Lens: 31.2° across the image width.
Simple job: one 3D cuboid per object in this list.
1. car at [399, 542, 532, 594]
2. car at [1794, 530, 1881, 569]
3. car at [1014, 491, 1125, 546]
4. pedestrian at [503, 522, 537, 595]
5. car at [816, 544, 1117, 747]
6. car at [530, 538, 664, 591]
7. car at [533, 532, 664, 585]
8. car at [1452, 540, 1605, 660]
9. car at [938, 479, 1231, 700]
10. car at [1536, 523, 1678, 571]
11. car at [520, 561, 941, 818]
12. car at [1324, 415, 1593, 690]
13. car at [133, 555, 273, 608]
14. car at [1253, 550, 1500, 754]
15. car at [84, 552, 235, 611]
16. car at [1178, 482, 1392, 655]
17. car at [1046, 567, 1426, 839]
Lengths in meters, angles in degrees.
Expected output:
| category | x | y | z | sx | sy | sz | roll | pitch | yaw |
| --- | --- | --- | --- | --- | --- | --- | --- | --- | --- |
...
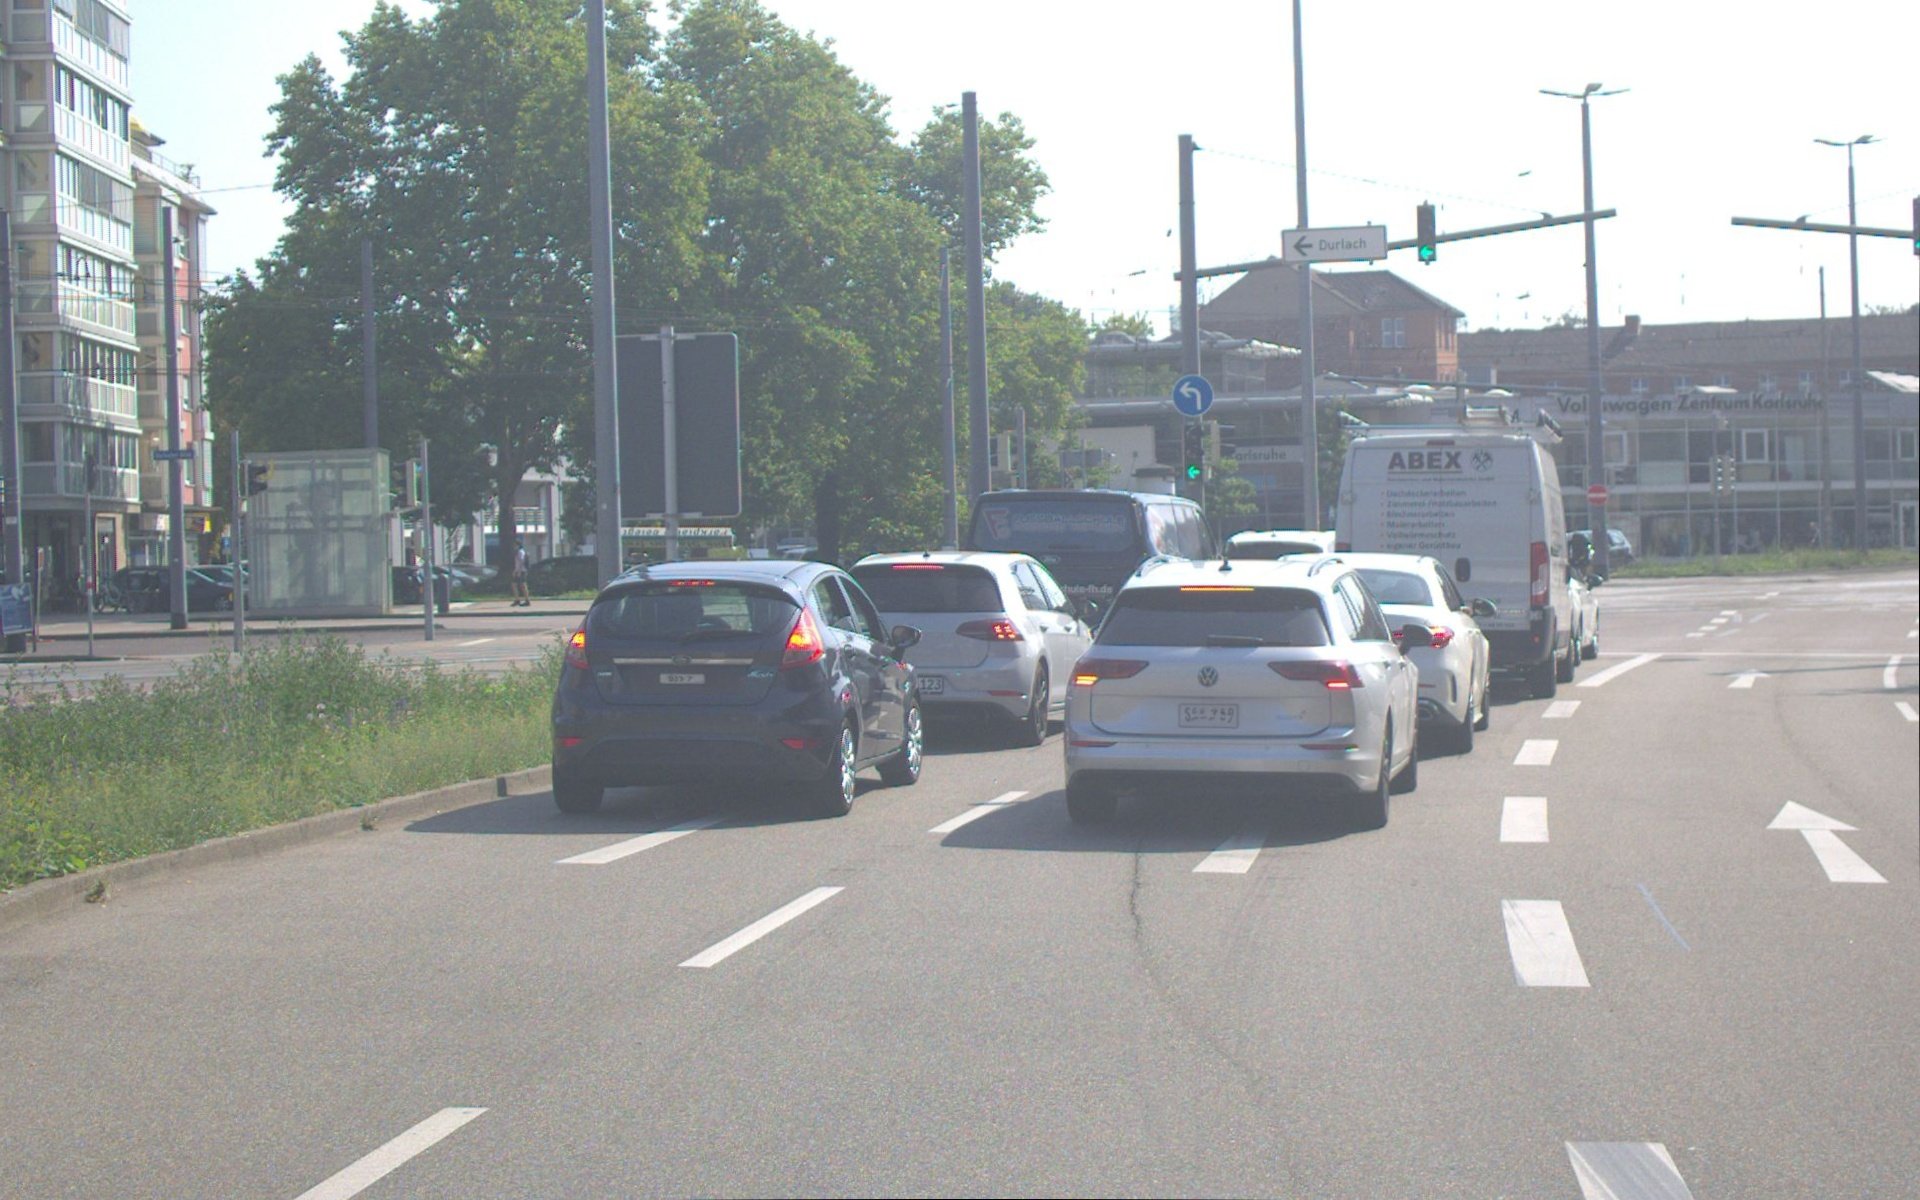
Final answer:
| category | x | y | z | sx | sy | sz | roll | pitch | yaw |
| --- | --- | --- | --- | --- | --- | --- | --- | --- | --- |
| car | -15.679 | -1.028 | 109.220 | 3.986 | 1.552 | 1.728 | -1 | 1 | -2 |
| car | 34.473 | -1.986 | 135.068 | 1.997 | 1.437 | 3.992 | -1 | 1 | 35 |
| car | 4.202 | -3.122 | 131.476 | 3.988 | 2.006 | 2.000 | 0 | 3 | 9 |
| pedestrian | -12.244 | -1.169 | 95.711 | 0.822 | 2.007 | 0.509 | -1 | 1 | 1 |
| car | 0.120 | 0.304 | 26.650 | 1.490 | 1.410 | 3.646 | 0 | 2 | 14 |
| car | -11.561 | -1.142 | 109.668 | 3.987 | 1.612 | 1.813 | -1 | 1 | 2 |
| car | -11.743 | -1.360 | 111.756 | 3.987 | 1.612 | 1.813 | -1 | 1 | 2 |
| car | 7.091 | -0.028 | 42.670 | 1.638 | 1.398 | 3.685 | 0 | 1 | 13 |
| car | 1.313 | -0.130 | 33.724 | 2.024 | 2.001 | 4.681 | 0 | 1 | 13 |
| car | 19.085 | -1.575 | 101.551 | 3.966 | 1.337 | 1.930 | -1 | 1 | 6 |
| car | -1.259 | 0.467 | 20.576 | 1.702 | 1.363 | 3.962 | 0 | 1 | 8 |
| car | 5.057 | -0.459 | 34.333 | 2.190 | 2.540 | 4.680 | 0 | 0 | 14 |
| car | -23.782 | -0.586 | 108.090 | 3.986 | 1.552 | 1.869 | -1 | 1 | -2 |
| car | 3.177 | 0.341 | 25.684 | 1.489 | 1.398 | 3.940 | 0 | 0 | 12 |
| car | -23.504 | -0.550 | 101.041 | 3.987 | 1.552 | 1.869 | -1 | 3 | -1 |
| car | 4.069 | -0.400 | 42.352 | 2.024 | 2.001 | 4.681 | 0 | 1 | 13 |
| car | 1.650 | 0.512 | 19.434 | 1.686 | 1.383 | 3.632 | 0 | 0 | 12 |
